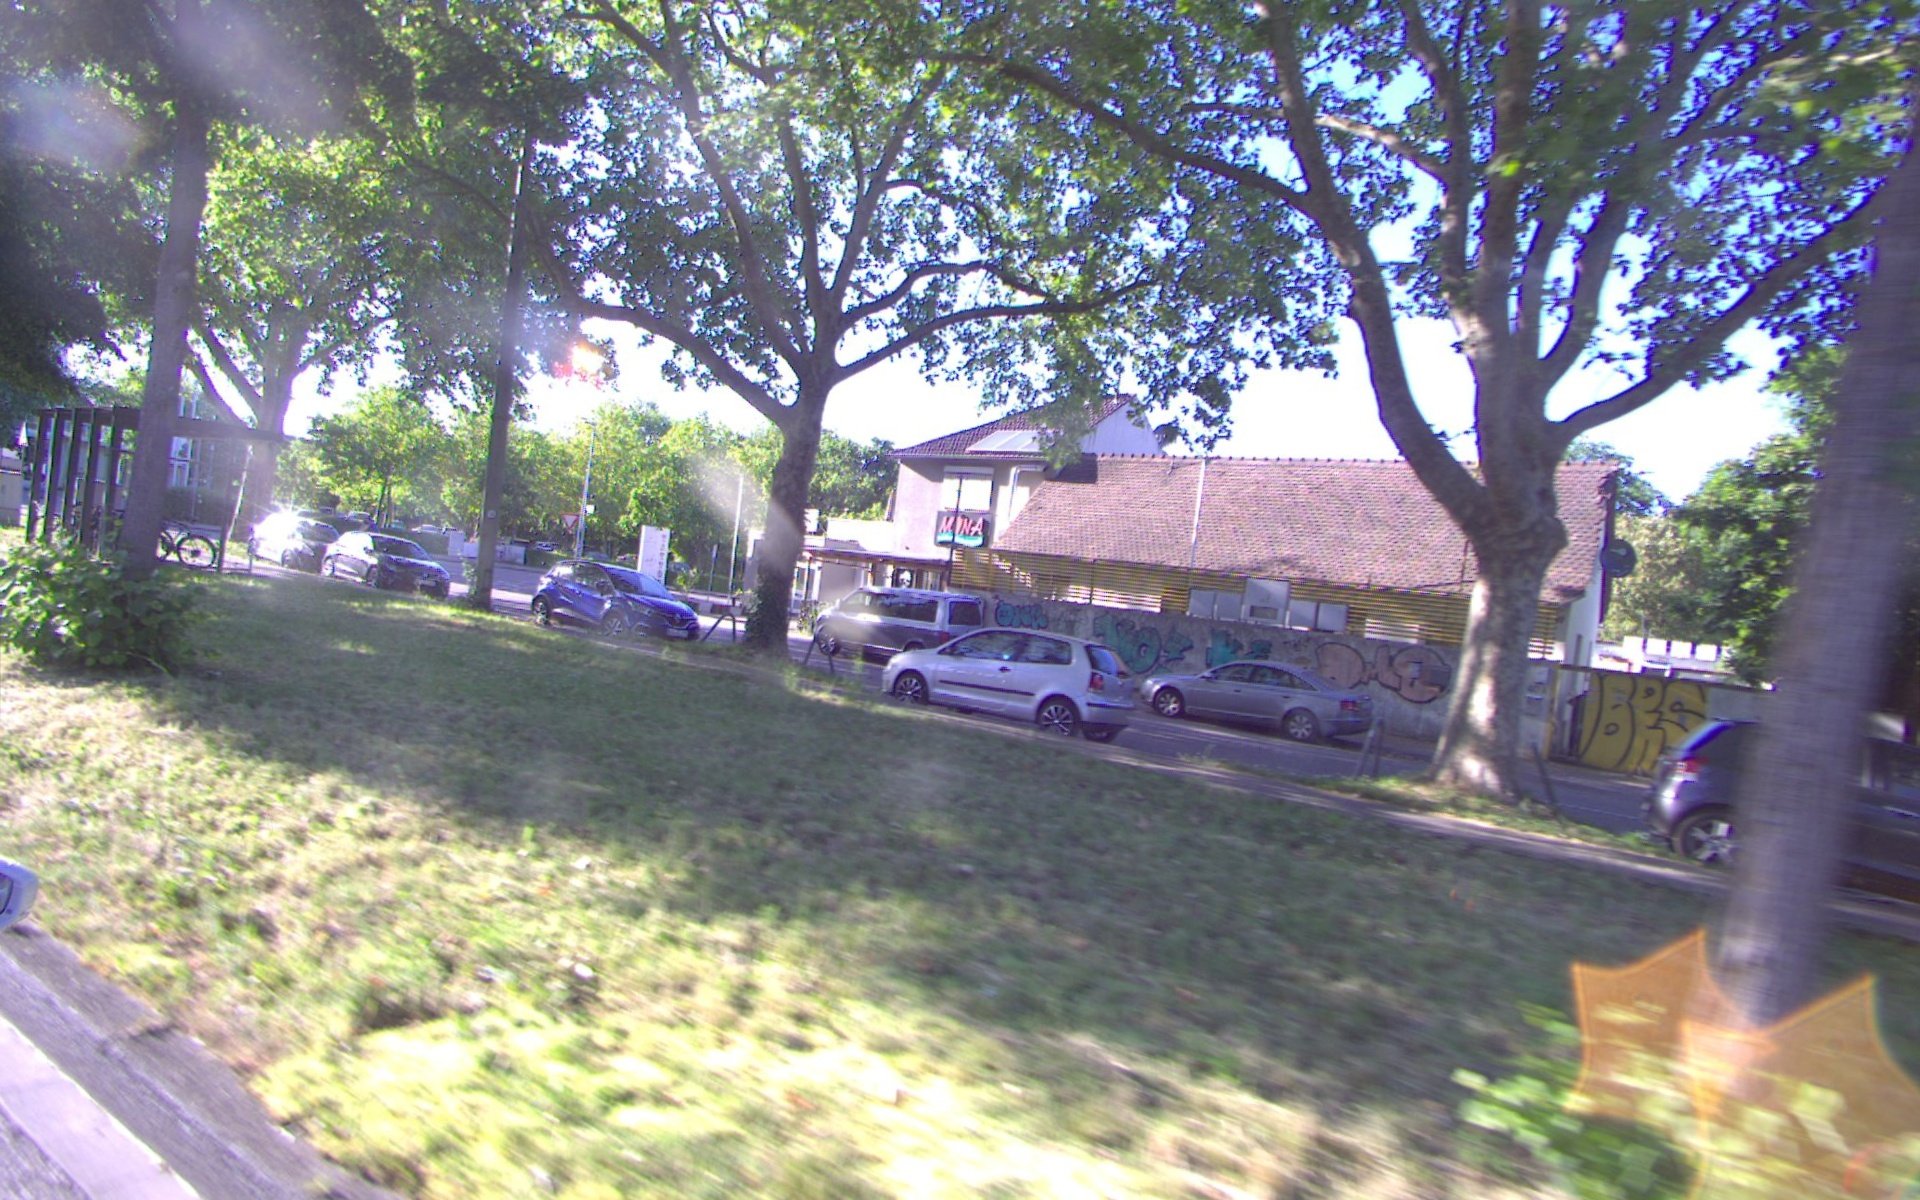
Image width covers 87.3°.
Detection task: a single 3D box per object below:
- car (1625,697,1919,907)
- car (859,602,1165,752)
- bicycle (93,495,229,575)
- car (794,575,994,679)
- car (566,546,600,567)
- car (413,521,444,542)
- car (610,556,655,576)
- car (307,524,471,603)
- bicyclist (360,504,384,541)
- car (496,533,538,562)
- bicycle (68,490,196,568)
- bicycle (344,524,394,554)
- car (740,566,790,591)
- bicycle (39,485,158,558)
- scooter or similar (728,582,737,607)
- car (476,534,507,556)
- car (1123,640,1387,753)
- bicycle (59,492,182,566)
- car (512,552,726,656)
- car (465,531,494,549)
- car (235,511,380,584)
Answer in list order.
[{"bbox_3d":[8.384,1.887,9.034,3.850,1.397,1.940,8,-1,33],"label":"car"},{"bbox_3d":[0.731,1.081,14.917,3.982,1.504,1.897,8,0,32],"label":"car"},{"bbox_3d":[-14.756,-1.176,18.628,0.542,1.183,1.805,8,0,35],"label":"bicycle"},{"bbox_3d":[-1.801,0.664,26.552,4.988,2.063,1.894,8,2,34],"label":"car"},{"bbox_3d":[-34.315,-3.950,91.540,1.982,1.483,3.963,9,0,-33],"label":"car"},{"bbox_3d":[-47.984,-6.201,90.807,1.982,1.483,3.963,9,0,-33],"label":"car"},{"bbox_3d":[-34.608,-3.569,106.367,1.968,1.483,3.991,8,-1,34],"label":"car"},{"bbox_3d":[-14.616,-0.955,25.671,4.277,1.428,1.895,8,-1,35],"label":"car"},{"bbox_3d":[-30.330,-4.002,51.890,0.867,1.759,0.826,7,2,-29],"label":"bicyclist"},{"bbox_3d":[-28.370,-3.368,64.394,1.979,1.483,3.969,9,0,-29],"label":"car"},{"bbox_3d":[-15.674,-1.325,19.089,0.542,1.183,1.698,8,0,33],"label":"bicycle"},{"bbox_3d":[-30.497,-3.136,51.919,2.081,1.219,0.547,7,2,-30],"label":"bicycle"},{"bbox_3d":[-18.373,-2.012,94.945,3.982,1.481,1.975,13,-2,-43],"label":"car"},{"bbox_3d":[-17.524,-1.579,20.493,0.543,1.183,1.695,8,0,40],"label":"bicycle"},{"bbox_3d":[-11.247,-0.272,49.774,0.258,1.178,1.010,7,1,-11],"label":"scooter or similar"},{"bbox_3d":[-40.957,-4.811,87.879,1.979,1.483,3.969,9,0,-29],"label":"car"},{"bbox_3d":[6.086,1.959,21.058,4.838,1.504,1.894,8,0,37],"label":"car"},{"bbox_3d":[-16.576,-1.387,19.896,0.542,1.183,1.698,8,0,34],"label":"bicycle"},{"bbox_3d":[-7.023,0.065,20.583,4.278,1.506,1.895,8,0,36],"label":"car"},{"bbox_3d":[-49.021,-6.136,102.594,1.982,1.483,3.963,9,0,-33],"label":"car"},{"bbox_3d":[-18.254,-1.467,28.102,3.972,1.483,1.896,8,0,34],"label":"car"}]
